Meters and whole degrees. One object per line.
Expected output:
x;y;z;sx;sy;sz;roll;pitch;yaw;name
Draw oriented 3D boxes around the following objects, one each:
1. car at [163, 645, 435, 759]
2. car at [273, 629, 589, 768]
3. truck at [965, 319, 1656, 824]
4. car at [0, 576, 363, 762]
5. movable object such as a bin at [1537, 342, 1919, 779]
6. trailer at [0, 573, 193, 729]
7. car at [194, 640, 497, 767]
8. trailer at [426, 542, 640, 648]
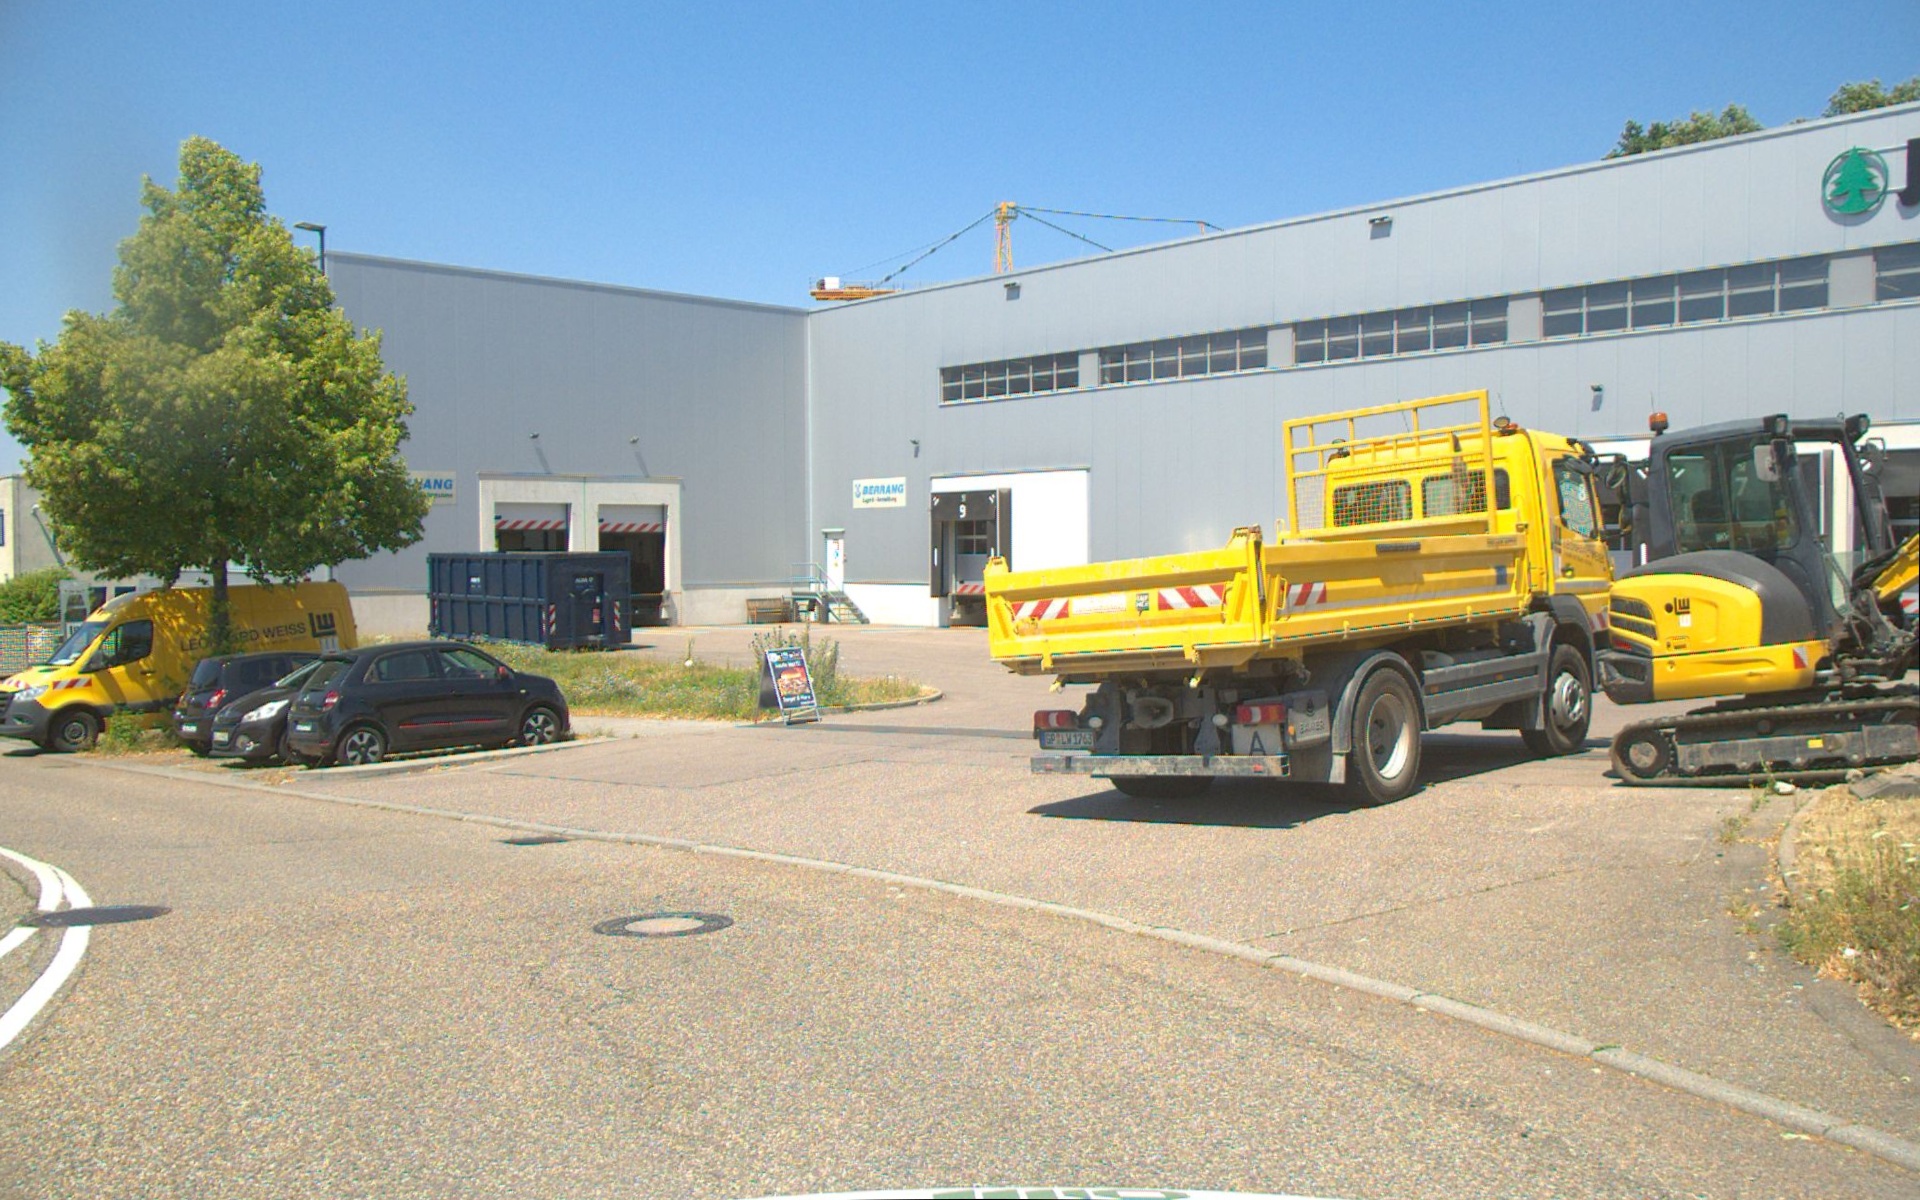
-10.183;1.515;25.614;3.587;1.504;1.601;-1;0;-45;car
-6.983;1.245;22.039;3.643;1.488;1.601;-4;1;-43;car
3.199;-0.275;13.662;2.550;3.190;6.384;-3;0;43;truck
-13.657;1.067;28.875;5.756;2.780;1.967;-3;2;-45;car
6.952;-0.268;10.029;1.979;2.626;6.489;0;-1;-37;movable object such as a bin
-18.463;1.006;34.437;5.425;2.906;2.648;-1;2;44;trailer
-8.707;1.409;23.630;1.564;1.533;3.756;-2;0;45;car
-11.615;-0.220;44.467;2.643;2.462;7.307;0;2;-40;trailer
